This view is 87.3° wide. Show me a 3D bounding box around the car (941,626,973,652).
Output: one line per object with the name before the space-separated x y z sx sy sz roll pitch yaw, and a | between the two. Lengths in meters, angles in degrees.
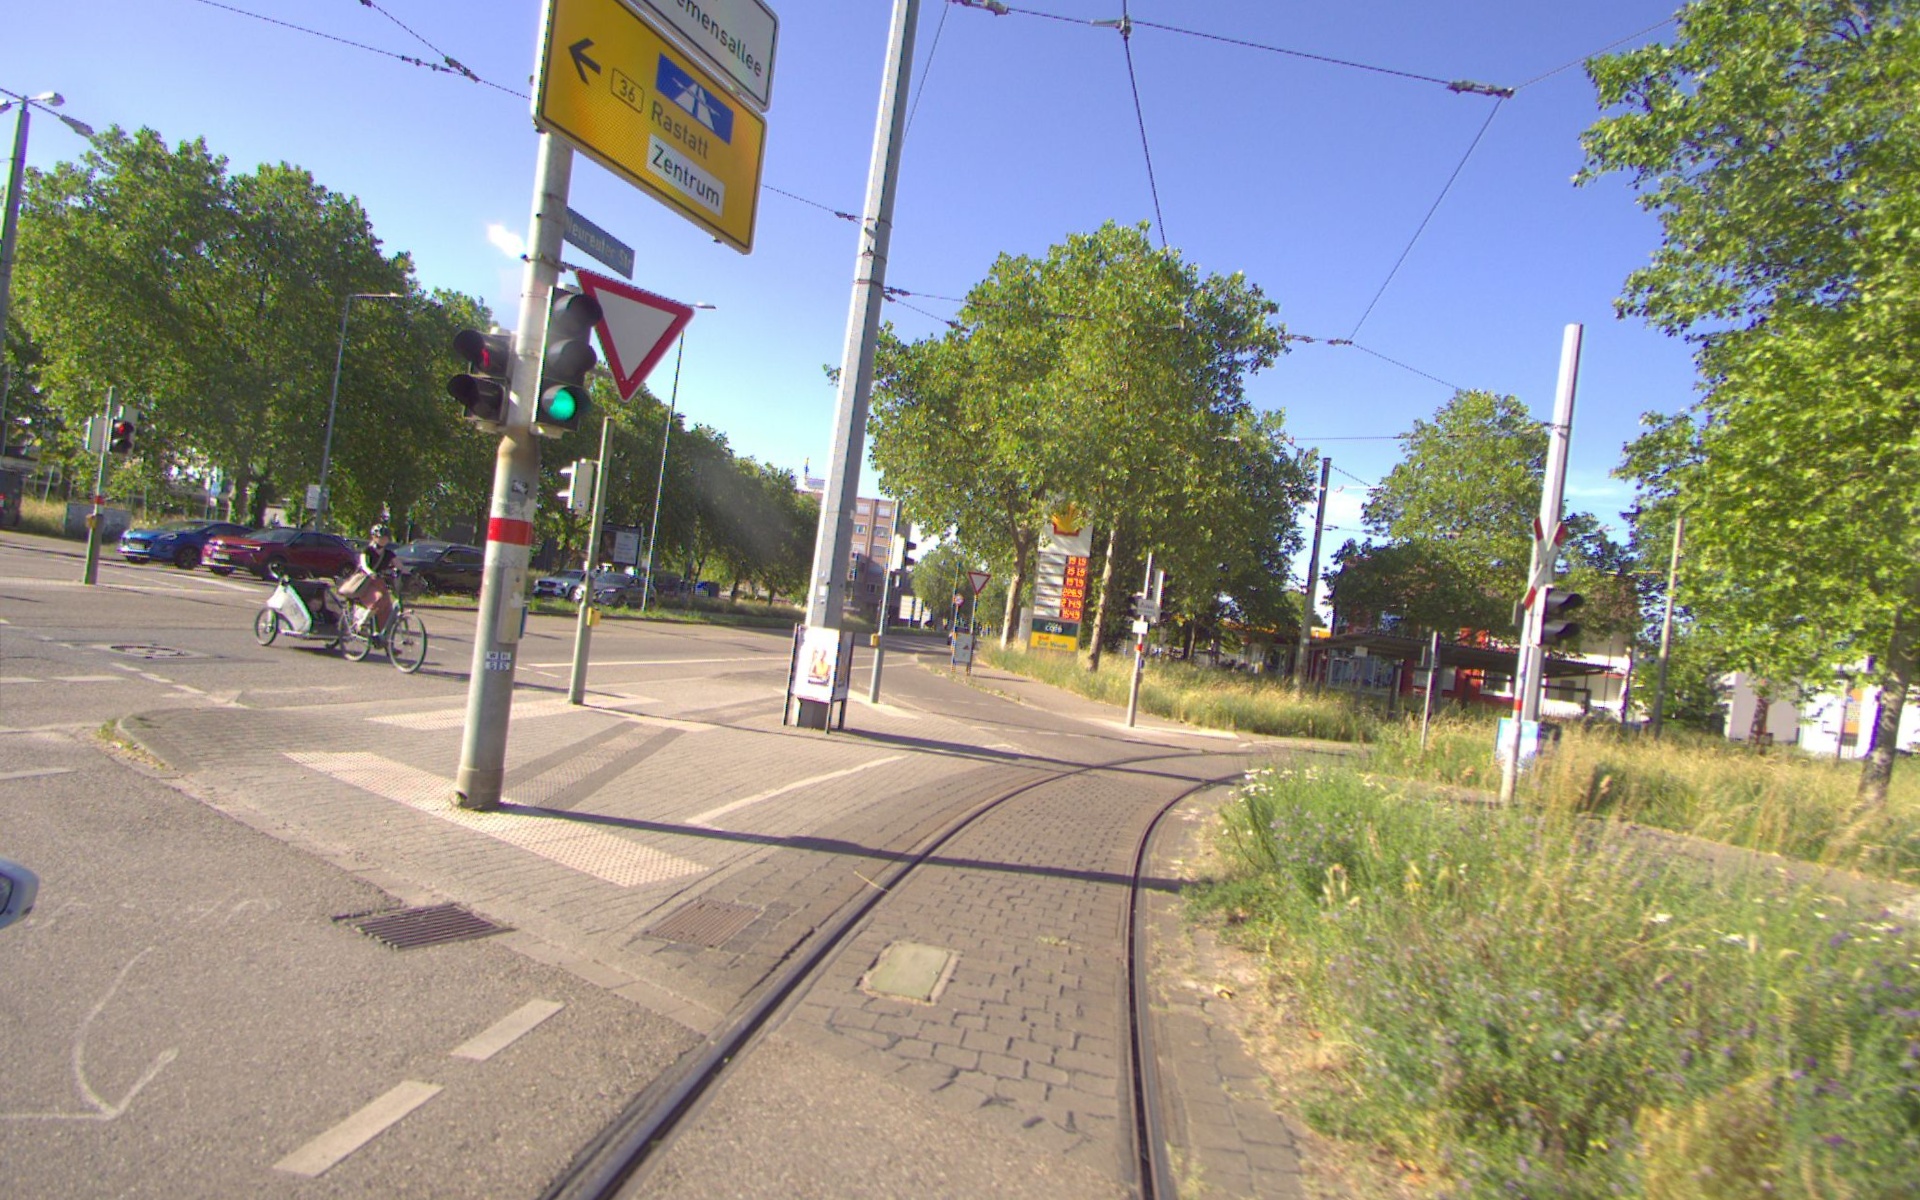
car | -0.217 3.040 78.518 1.792 1.724 3.778 8 -2 8

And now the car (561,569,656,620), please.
car | -14.070 -0.183 40.535 1.962 1.637 4.003 8 -1 6

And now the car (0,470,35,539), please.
car | -32.365 -3.346 31.029 5.061 2.094 2.117 9 -1 -27

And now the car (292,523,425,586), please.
car | -21.618 -1.595 36.391 1.898 1.698 4.178 8 -1 5

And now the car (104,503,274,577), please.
car | -22.537 -1.709 29.619 1.681 1.619 3.862 7 -1 5

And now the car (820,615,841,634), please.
car | -12.651 2.409 98.442 1.346 1.636 3.211 4 -1 5

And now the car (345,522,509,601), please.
car | -15.267 -1.038 29.135 1.885 1.731 4.498 7 -1 5

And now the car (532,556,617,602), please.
car | -19.103 -1.008 50.107 1.873 1.701 4.783 7 -3 6

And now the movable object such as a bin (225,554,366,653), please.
movable object such as a bin | -8.669 0.051 13.137 1.293 1.081 0.911 7 0 26

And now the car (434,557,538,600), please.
car | -20.586 -0.891 43.927 1.898 1.424 4.573 7 -1 5

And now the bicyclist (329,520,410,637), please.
bicyclist | -7.293 -0.259 12.438 0.555 1.357 0.511 7 0 26

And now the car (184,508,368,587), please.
car | -18.797 -1.374 27.898 1.782 1.619 4.094 7 -1 9

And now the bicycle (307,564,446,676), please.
bicycle | -7.176 0.233 12.341 1.788 1.132 0.468 7 0 27
